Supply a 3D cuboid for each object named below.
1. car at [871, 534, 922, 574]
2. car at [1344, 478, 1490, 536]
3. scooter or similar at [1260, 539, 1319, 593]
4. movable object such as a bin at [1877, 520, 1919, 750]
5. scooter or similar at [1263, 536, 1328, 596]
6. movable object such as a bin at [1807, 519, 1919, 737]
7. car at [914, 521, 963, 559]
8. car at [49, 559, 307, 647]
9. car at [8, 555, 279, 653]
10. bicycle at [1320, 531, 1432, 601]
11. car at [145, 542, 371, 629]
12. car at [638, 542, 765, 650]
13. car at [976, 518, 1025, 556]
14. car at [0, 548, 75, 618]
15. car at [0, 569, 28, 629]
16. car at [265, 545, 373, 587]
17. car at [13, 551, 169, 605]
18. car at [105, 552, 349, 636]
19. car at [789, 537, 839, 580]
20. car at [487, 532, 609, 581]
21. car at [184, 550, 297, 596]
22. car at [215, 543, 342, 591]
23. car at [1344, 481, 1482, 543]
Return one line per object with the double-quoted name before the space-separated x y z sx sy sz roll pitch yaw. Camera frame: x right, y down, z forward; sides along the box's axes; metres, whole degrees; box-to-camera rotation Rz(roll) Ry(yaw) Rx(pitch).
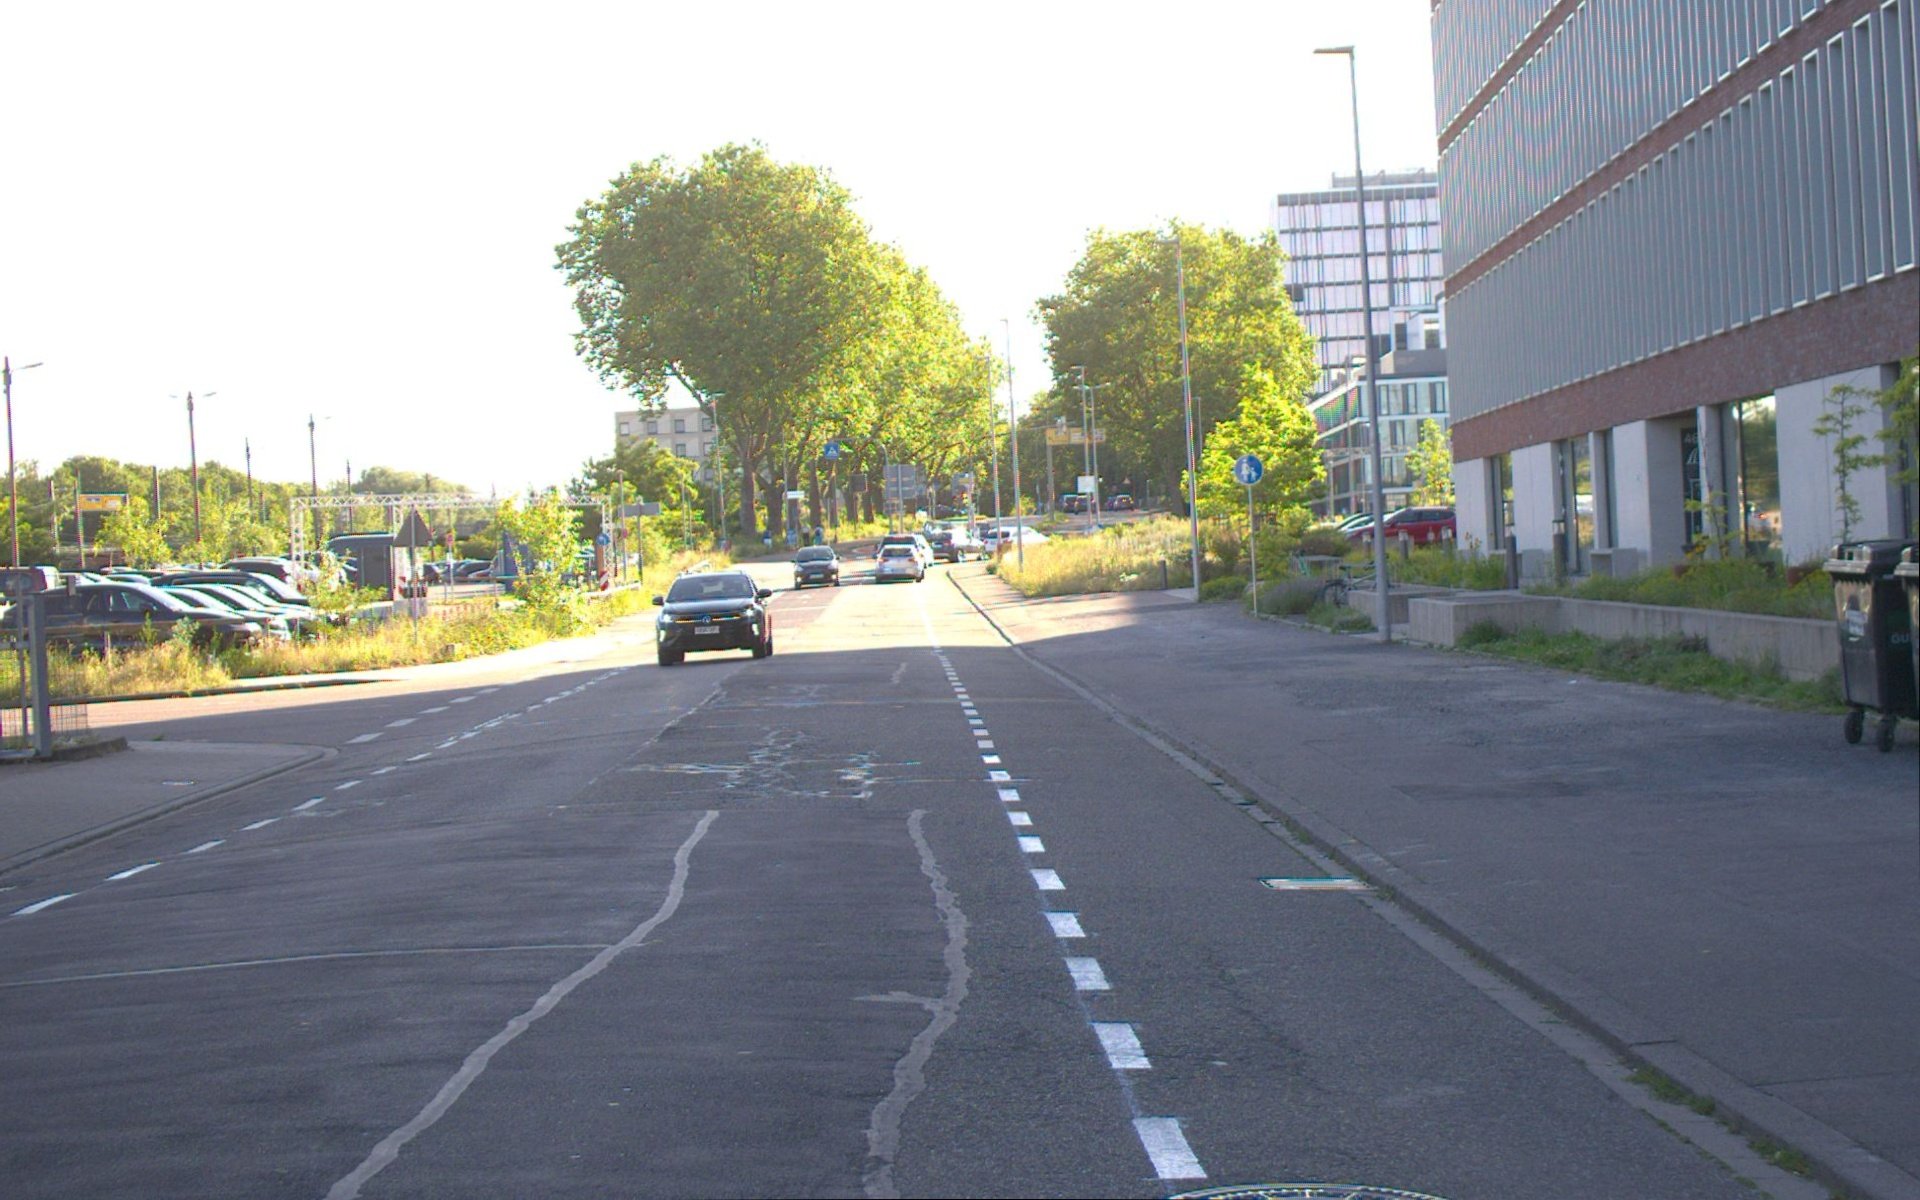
"car" -2.426 -1.768 132.097 1.790 1.415 4.000 -2 2 0
"car" 13.772 -2.816 103.766 4.184 1.575 1.852 -2 1 3
"scooter or similar" 7.323 -0.754 76.376 1.243 1.152 0.366 -2 1 4
"movable object such as a bin" 6.278 0.185 20.576 1.128 1.367 1.345 -3 1 -2
"scooter or similar" 7.307 -0.743 74.818 1.340 1.241 0.423 -2 1 4
"movable object such as a bin" 6.246 0.151 22.198 1.128 1.331 1.345 -3 1 -2
"car" -0.980 -2.815 160.792 2.163 1.678 4.000 -3 1 1
"car" -15.040 0.042 66.298 4.428 1.457 2.049 -3 1 1
"car" -15.019 0.061 63.393 4.428 1.575 2.049 -3 1 1
"bicycle" 7.634 -0.627 63.145 1.931 1.165 0.375 -4 1 -7
"car" -15.307 -0.324 75.096 4.428 1.664 2.049 -3 1 1
"car" -4.234 -0.106 56.759 1.740 1.520 4.112 -6 1 -1
"car" 1.982 -3.050 166.241 2.164 1.678 4.000 -2 1 3
"car" -26.637 -0.418 93.583 4.576 1.799 1.857 -2 2 0
"car" -27.194 0.029 91.206 4.367 1.540 1.857 -2 2 0
"car" -27.808 -1.474 149.203 4.321 1.612 1.878 -2 2 -1
"car" -26.999 -0.691 106.868 4.321 1.518 1.878 -2 2 0
"car" -14.791 -0.126 69.539 4.428 1.457 2.049 -3 1 1
"car" -5.496 -1.564 129.696 1.654 1.498 4.000 -4 1 -1
"car" -17.192 -1.825 143.605 4.845 1.828 2.000 -2 2 -1
"car" -27.398 -1.035 130.989 3.882 1.598 1.878 -2 2 -1
"car" -27.374 -1.321 138.246 4.580 1.735 2.058 -2 2 3
"car" 14.576 -2.833 110.746 4.184 1.575 1.851 -3 -5 3
